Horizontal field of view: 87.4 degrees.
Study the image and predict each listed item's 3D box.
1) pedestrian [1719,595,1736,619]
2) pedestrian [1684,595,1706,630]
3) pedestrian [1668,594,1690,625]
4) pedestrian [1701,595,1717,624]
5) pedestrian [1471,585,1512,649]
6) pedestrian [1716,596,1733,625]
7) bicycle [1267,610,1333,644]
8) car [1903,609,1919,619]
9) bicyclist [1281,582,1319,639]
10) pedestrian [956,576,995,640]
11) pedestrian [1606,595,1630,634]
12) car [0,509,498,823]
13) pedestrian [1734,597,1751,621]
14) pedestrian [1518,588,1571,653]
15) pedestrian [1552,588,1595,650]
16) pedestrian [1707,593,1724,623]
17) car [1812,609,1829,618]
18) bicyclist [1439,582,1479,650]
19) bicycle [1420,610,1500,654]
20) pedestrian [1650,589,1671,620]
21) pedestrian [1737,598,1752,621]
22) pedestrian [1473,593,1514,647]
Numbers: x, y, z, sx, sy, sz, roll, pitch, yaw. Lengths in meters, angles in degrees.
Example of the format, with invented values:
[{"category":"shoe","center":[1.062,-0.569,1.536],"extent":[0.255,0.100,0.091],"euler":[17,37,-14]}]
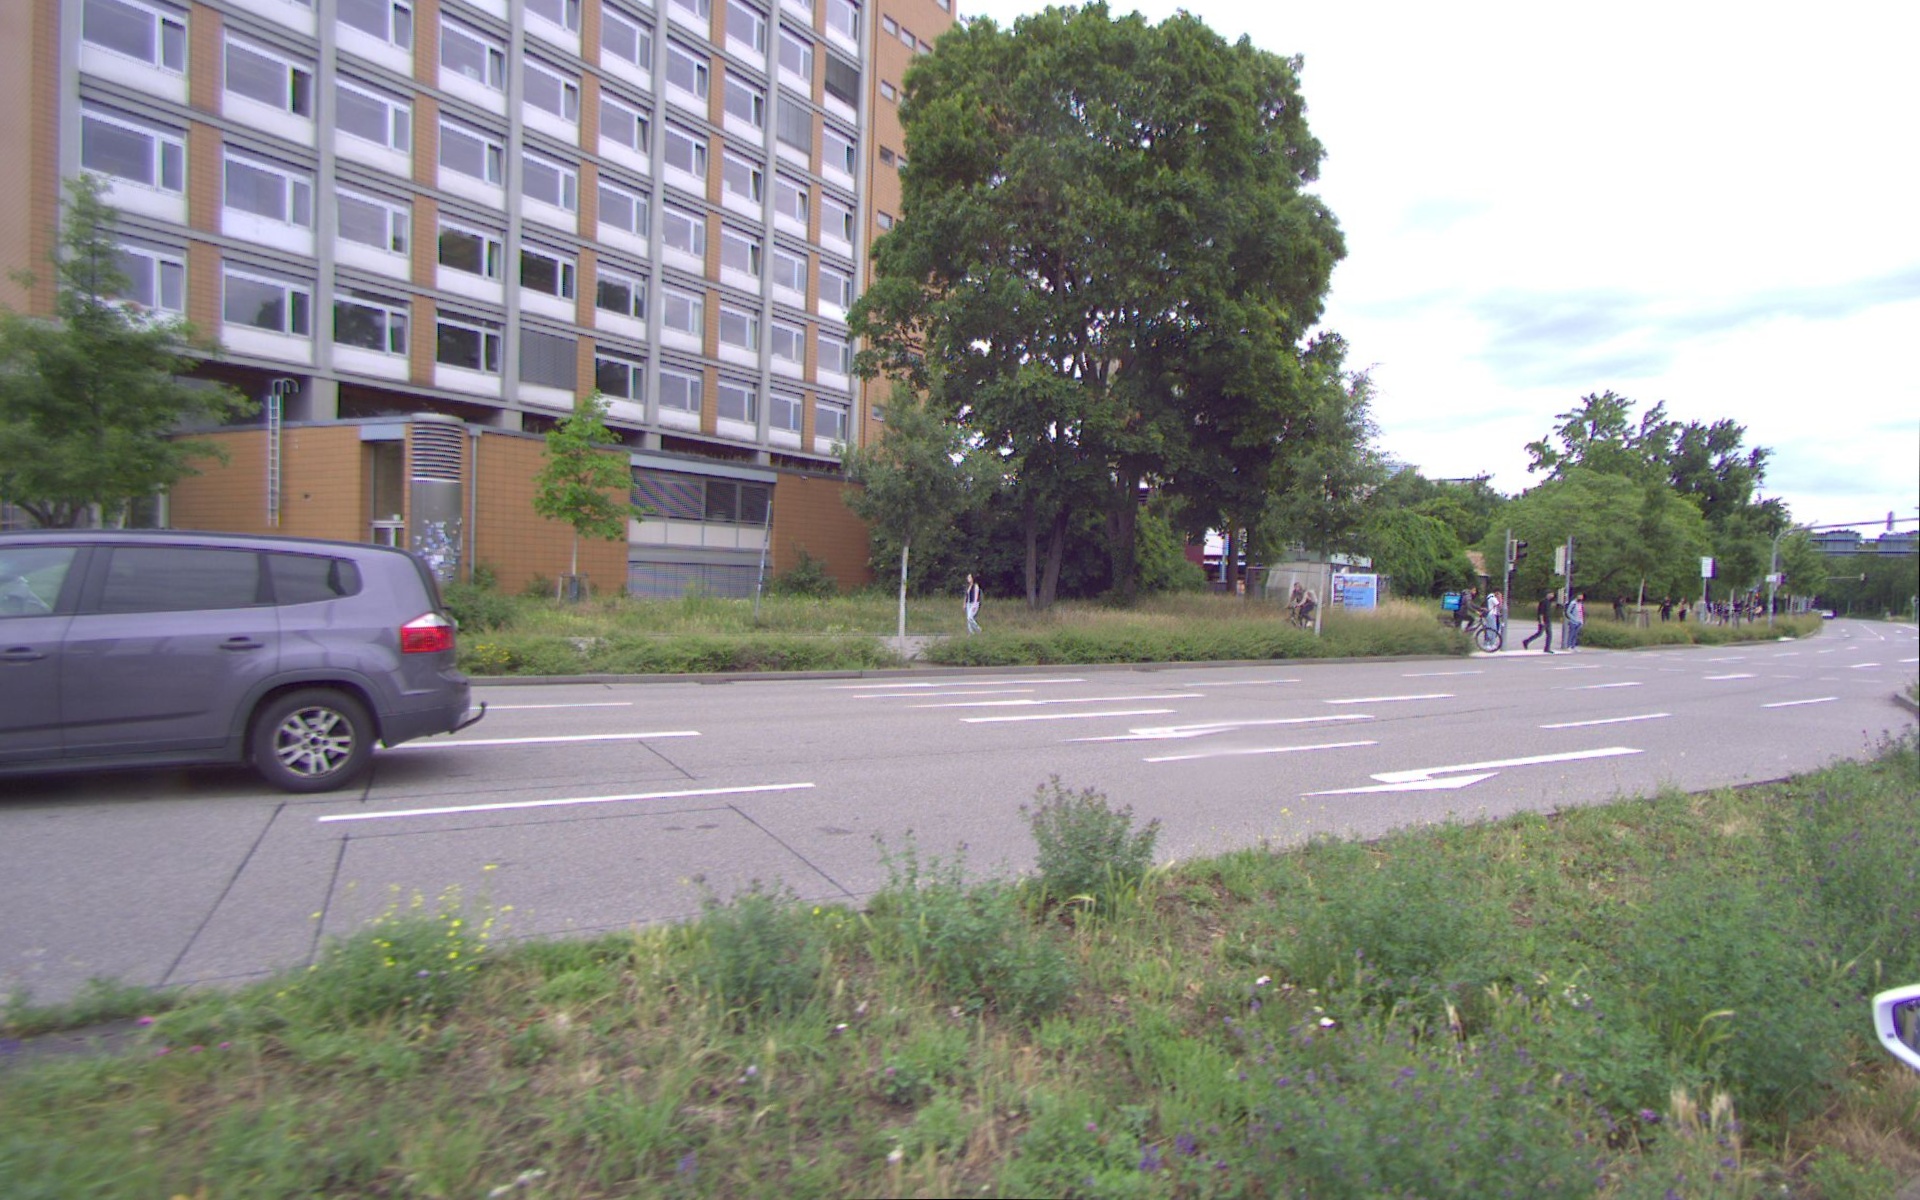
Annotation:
[{"category":"pedestrian","center":[59.342,0.509,77.695],"extent":[0.908,1.803,1.058],"euler":[2,1,42]},{"category":"pedestrian","center":[43.272,0.745,59.124],"extent":[1.038,2.041,0.749],"euler":[0,1,-40]},{"category":"pedestrian","center":[40.714,0.520,56.906],"extent":[1.038,1.735,0.749],"euler":[0,1,-40]},{"category":"pedestrian","center":[49.719,0.650,66.682],"extent":[0.752,1.895,0.707],"euler":[0,1,-43]},{"category":"pedestrian","center":[15.793,0.502,29.862],"extent":[0.757,1.867,0.753],"euler":[0,2,-30]},{"category":"pedestrian","center":[50.335,0.688,66.147],"extent":[0.752,1.895,0.707],"euler":[0,1,-43]},{"category":"bicycle","center":[9.646,0.770,28.489],"extent":[1.862,0.894,0.711],"euler":[2,1,-32]},{"category":"car","center":[121.113,1.768,127.581],"extent":[1.690,1.282,3.325],"euler":[2,1,38]},{"category":"bicyclist","center":[9.637,0.284,28.464],"extent":[0.704,1.591,0.711],"euler":[1,1,-31]},{"category":"pedestrian","center":[0.387,0.191,24.968],"extent":[0.747,1.562,0.558],"euler":[1,1,-31]},{"category":"pedestrian","center":[34.604,0.750,52.850],"extent":[1.038,2.041,0.749],"euler":[0,1,-40]},{"category":"car","center":[-5.607,0.372,6.491],"extent":[4.654,1.748,1.862],"euler":[1,0,-29]},{"category":"pedestrian","center":[60.019,0.679,77.077],"extent":[0.908,1.803,1.058],"euler":[2,1,42]},{"category":"pedestrian","center":[17.350,0.602,29.842],"extent":[0.856,1.867,1.043],"euler":[0,1,-30]},{"category":"pedestrian","center":[18.818,0.564,30.807],"extent":[0.659,1.867,0.888],"euler":[0,1,-30]},{"category":"pedestrian","center":[52.970,0.546,70.421],"extent":[1.039,2.041,0.748],"euler":[0,1,-43]},{"category":"car","center":[139.835,2.187,163.294],"extent":[1.664,1.435,3.633],"euler":[2,1,34]},{"category":"bicyclist","center":[14.197,0.446,28.586],"extent":[0.817,1.869,0.793],"euler":[1,1,14]},{"category":"bicycle","center":[14.200,0.907,28.575],"extent":[1.868,1.174,0.792],"euler":[1,1,15]},{"category":"pedestrian","center":[39.958,0.253,57.309],"extent":[0.898,1.789,0.749],"euler":[0,1,-40]},{"category":"pedestrian","center":[66.615,0.788,85.322],"extent":[0.908,1.804,1.058],"euler":[2,5,42]},{"category":"pedestrian","center":[16.956,0.619,31.909],"extent":[0.796,1.671,0.837],"euler":[0,1,-30]}]
